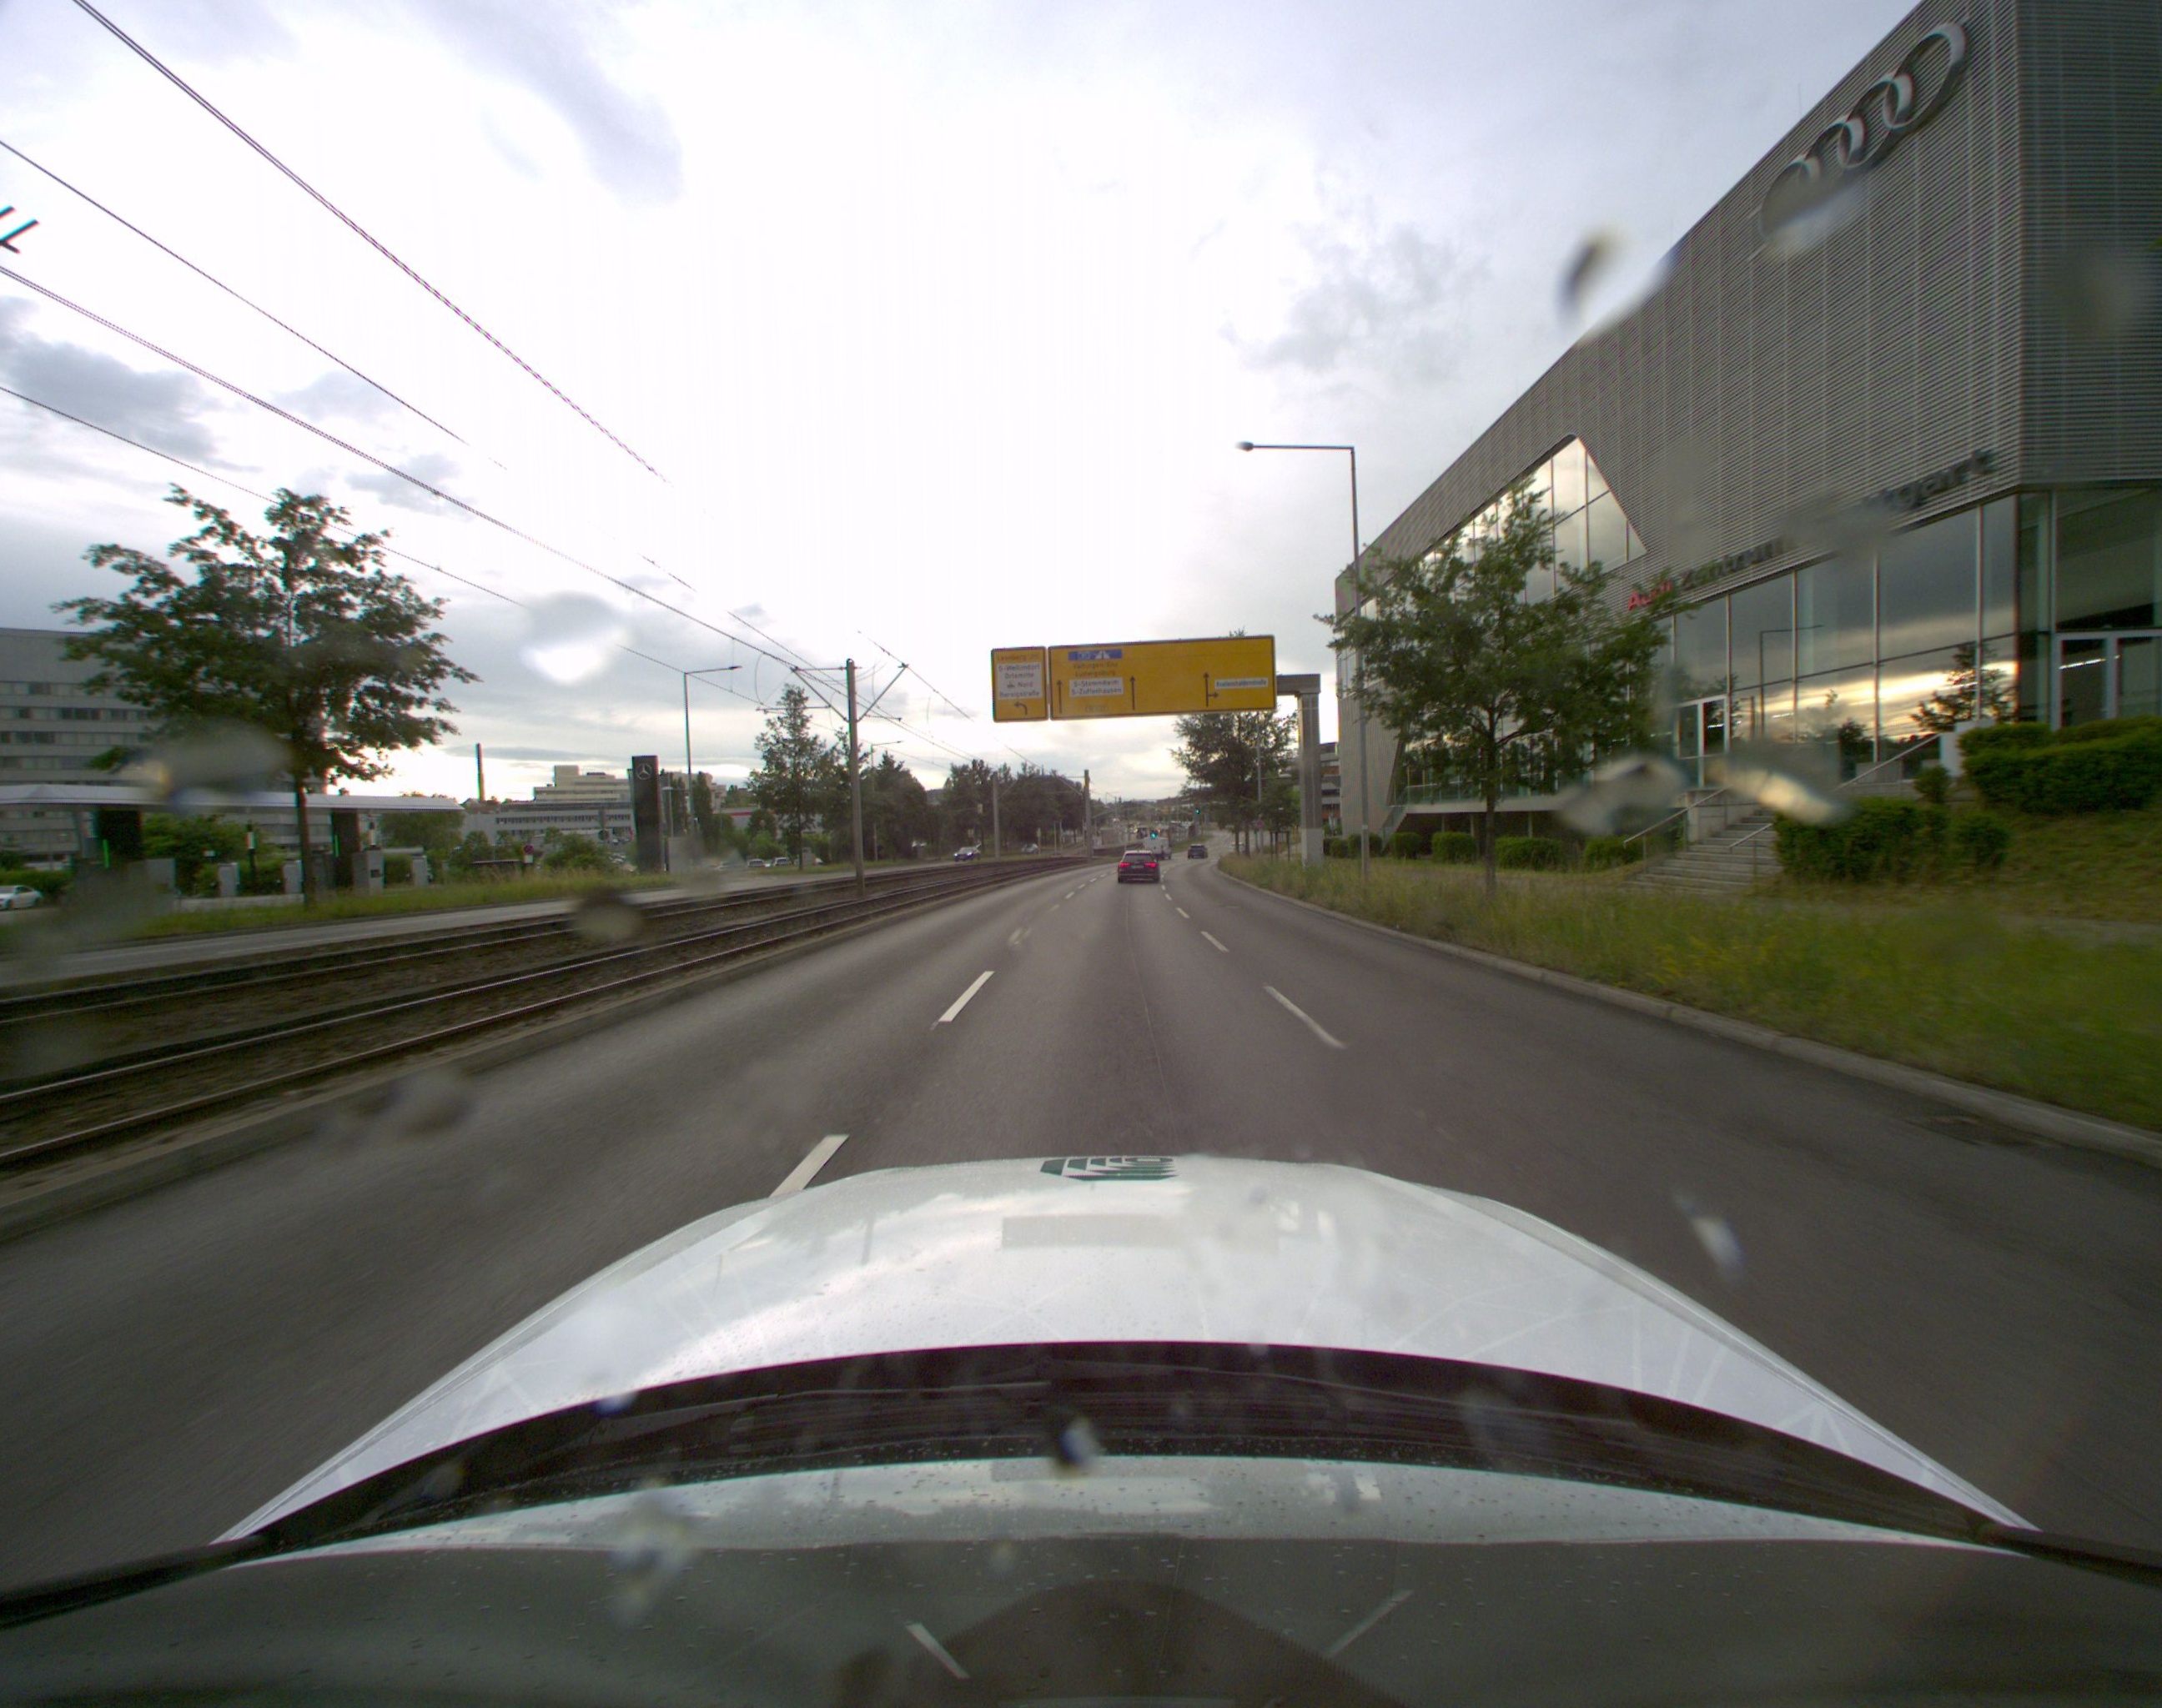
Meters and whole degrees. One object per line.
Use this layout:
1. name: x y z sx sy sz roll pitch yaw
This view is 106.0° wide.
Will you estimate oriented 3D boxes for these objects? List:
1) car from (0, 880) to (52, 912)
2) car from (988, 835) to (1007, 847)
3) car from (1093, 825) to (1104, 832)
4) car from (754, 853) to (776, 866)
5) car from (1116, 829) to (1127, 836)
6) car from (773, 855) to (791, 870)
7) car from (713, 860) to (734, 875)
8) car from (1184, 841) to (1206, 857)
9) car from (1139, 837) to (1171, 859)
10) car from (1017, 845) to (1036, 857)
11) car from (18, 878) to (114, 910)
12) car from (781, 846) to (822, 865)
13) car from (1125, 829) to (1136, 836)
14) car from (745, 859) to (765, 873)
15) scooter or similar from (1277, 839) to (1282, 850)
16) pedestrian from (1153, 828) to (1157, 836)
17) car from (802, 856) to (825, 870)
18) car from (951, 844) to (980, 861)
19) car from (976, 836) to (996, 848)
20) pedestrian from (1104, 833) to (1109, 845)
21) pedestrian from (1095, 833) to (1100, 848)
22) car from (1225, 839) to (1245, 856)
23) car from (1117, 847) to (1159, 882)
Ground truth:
1. car: -62.009 2.413 46.808 2.004 1.728 3.965 1 -1 -26
2. car: -14.297 -2.202 139.790 1.978 2.013 4.017 0 0 16
3. car: 5.180 -7.472 240.668 1.999 2.014 3.976 0 -1 -18
4. car: -37.960 0.624 97.835 2.005 1.510 3.964 0 -1 -28
5. car: 12.416 -6.477 247.825 1.999 2.014 3.976 0 -1 -18
6. car: -32.200 0.911 87.810 1.757 1.494 3.973 0 -1 -20
7. car: -37.590 1.388 85.707 1.757 1.494 3.973 0 -1 -20
8. car: 12.174 -0.516 86.602 2.007 1.623 4.014 0 -1 13
9. car: 7.470 -0.573 81.691 2.494 2.177 5.167 0 -1 13
10. car: -8.075 -0.485 121.329 1.982 1.679 4.010 0 1 8
11. car: -59.294 2.306 47.678 2.004 1.728 3.965 1 -1 -26
12. car: -25.398 0.165 74.030 1.983 1.650 4.007 0 -1 6
13. car: 15.019 -6.480 249.062 1.999 2.014 3.976 0 -1 -18
14. car: -34.542 1.247 86.361 1.757 1.494 3.973 0 -1 -20
15. scooter or similar: 22.667 -1.113 92.894 0.454 1.263 1.341 -4 0 10
16. pedestrian: 16.079 -4.720 177.188 0.747 1.751 0.767 0 -1 14
17. car: -29.290 0.965 89.106 2.003 1.510 3.968 0 -1 -24
18. car: -11.508 -0.184 81.075 1.875 1.520 4.408 -4 1 4
19. car: -15.704 -1.974 134.634 1.978 2.013 4.017 0 0 16
20. pedestrian: 4.001 -2.300 125.433 0.633 1.854 0.753 0 -1 13
21. pedestrian: 2.270 -1.840 109.877 0.545 1.953 0.666 0 -1 9
22. car: 18.182 -0.808 96.021 2.007 1.769 4.016 0 3 14
23. car: 2.537 0.420 37.073 1.757 1.463 4.629 0 1 2
